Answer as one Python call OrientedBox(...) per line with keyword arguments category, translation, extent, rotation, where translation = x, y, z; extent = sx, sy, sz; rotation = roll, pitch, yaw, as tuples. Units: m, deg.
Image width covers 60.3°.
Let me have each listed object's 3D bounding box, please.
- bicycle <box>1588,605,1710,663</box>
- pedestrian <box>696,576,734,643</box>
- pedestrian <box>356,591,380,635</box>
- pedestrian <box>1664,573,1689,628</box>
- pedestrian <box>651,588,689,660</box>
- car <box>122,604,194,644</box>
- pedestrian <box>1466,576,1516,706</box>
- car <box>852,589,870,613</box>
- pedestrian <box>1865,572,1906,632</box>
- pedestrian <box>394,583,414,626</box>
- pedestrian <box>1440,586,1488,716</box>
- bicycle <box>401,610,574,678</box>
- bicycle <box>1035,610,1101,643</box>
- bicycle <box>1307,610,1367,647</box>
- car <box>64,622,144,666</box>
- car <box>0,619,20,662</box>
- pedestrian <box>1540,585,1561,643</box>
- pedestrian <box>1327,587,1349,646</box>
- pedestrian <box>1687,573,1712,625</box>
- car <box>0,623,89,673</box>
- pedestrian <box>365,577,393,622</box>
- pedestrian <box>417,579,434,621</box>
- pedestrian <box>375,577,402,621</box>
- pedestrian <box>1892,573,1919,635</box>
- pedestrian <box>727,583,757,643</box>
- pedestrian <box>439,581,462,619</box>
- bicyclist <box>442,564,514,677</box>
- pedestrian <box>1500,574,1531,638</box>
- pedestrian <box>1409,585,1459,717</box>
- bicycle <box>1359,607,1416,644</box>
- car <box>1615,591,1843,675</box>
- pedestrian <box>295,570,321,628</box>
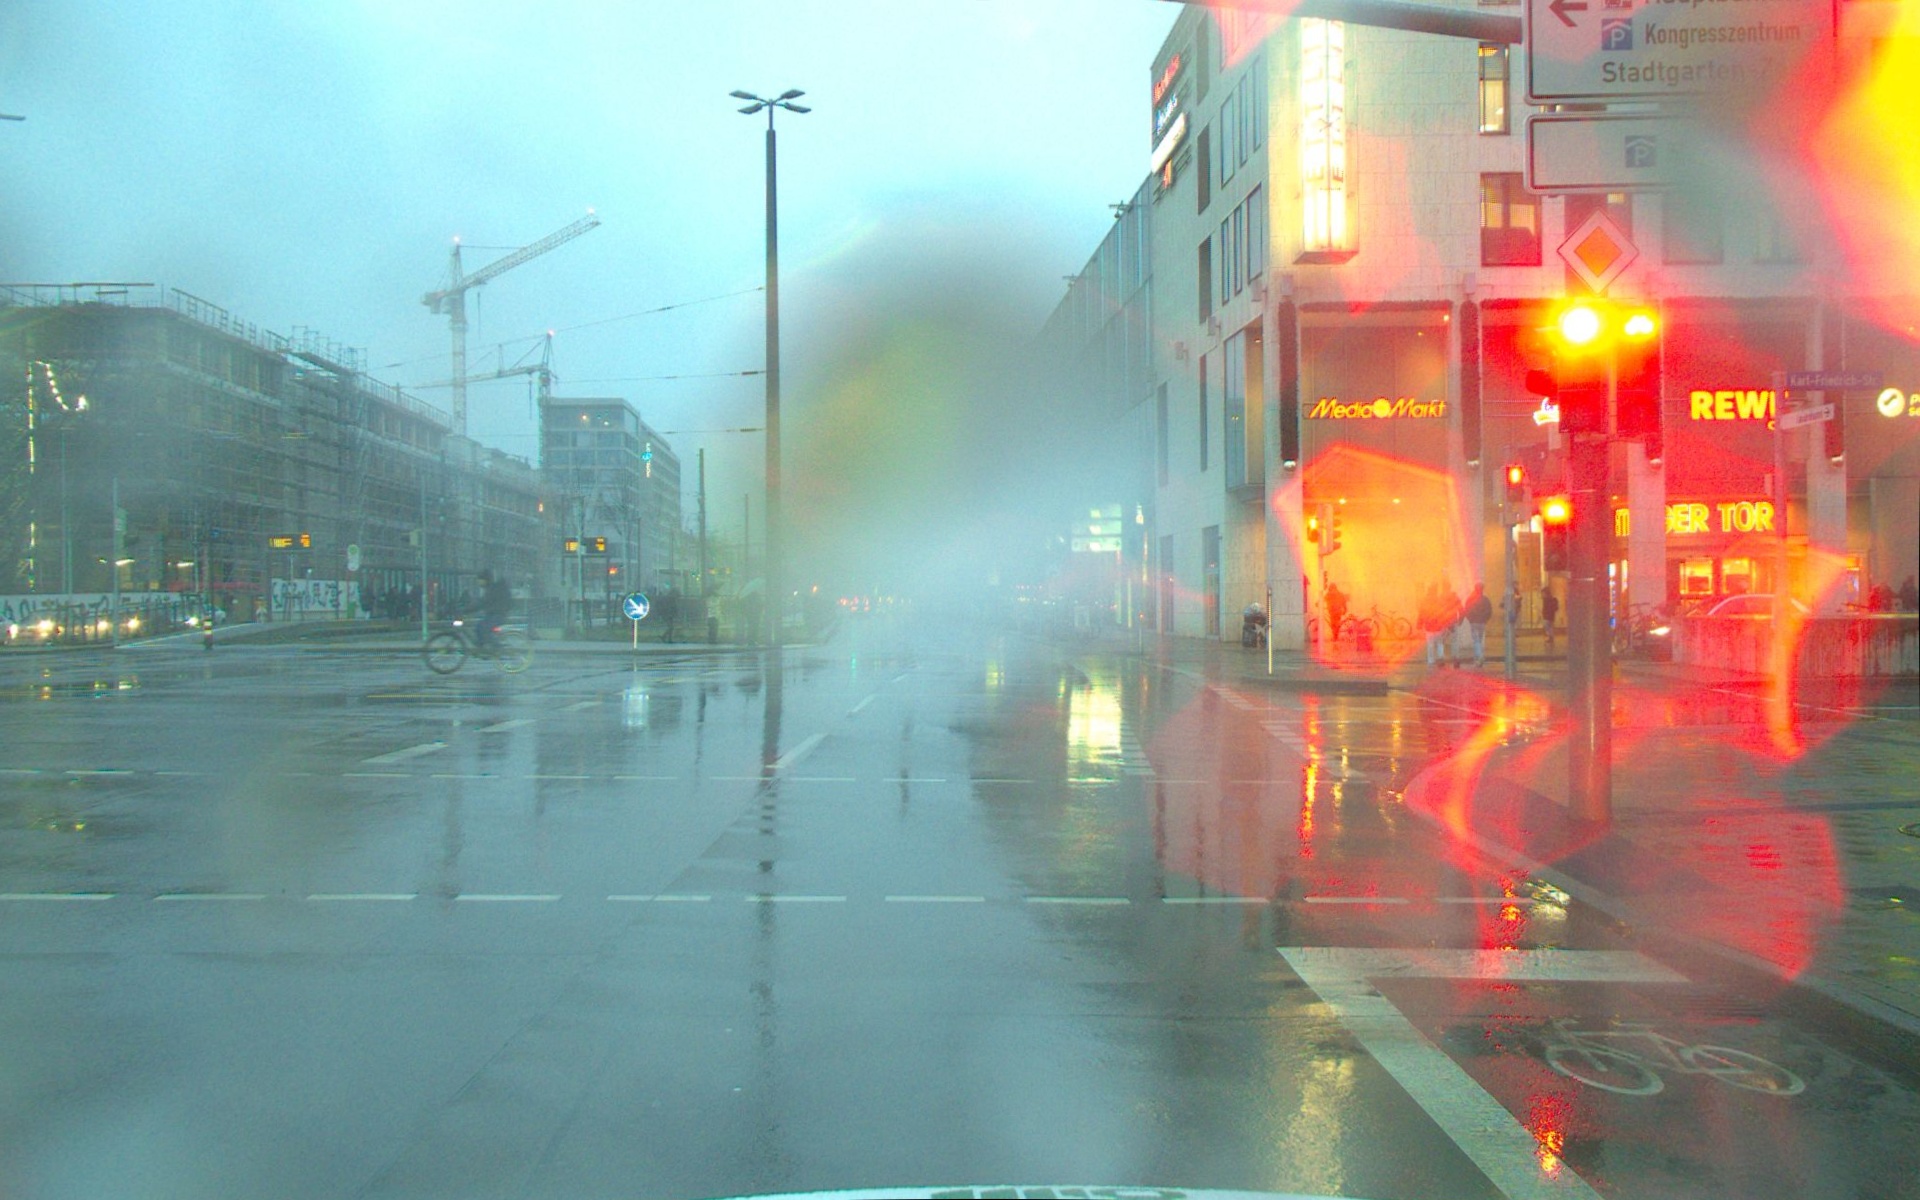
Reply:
OrientedBox(category="bicycle", translation=(17.205, 0.841, 41.351), extent=(2.659, 1.383, 0.957), rotation=(-1, -1, -4))
OrientedBox(category="pedestrian", translation=(-6.861, 0.269, 46.305), extent=(0.813, 1.863, 0.777), rotation=(1, -1, -31))
OrientedBox(category="pedestrian", translation=(-25.927, 0.571, 72.433), extent=(0.750, 1.931, 0.762), rotation=(1, -2, -1))
OrientedBox(category="pedestrian", translation=(22.757, 0.012, 52.556), extent=(0.603, 1.714, 0.366), rotation=(-1, 0, -5))
OrientedBox(category="pedestrian", translation=(-8.287, 0.684, 47.318), extent=(0.771, 2.049, 0.724), rotation=(0, -1, 41))
OrientedBox(category="car", translation=(-38.394, 1.133, 79.267), extent=(1.957, 1.822, 3.991), rotation=(1, 0, -9))
OrientedBox(category="pedestrian", translation=(10.383, 0.796, 32.363), extent=(0.679, 2.491, 0.791), rotation=(1, -1, -1))
OrientedBox(category="car", translation=(-8.798, 0.069, 146.944), extent=(1.546, 2.049, 3.169), rotation=(-1, 0, -3))
OrientedBox(category="pedestrian", translation=(26.875, 0.066, 48.040), extent=(0.875, 1.714, 0.528), rotation=(-1, -1, -1))
OrientedBox(category="pedestrian", translation=(-25.463, 0.202, 75.705), extent=(0.684, 1.913, 0.553), rotation=(1, -1, -2))
OrientedBox(category="pedestrian", translation=(9.779, 0.979, 32.115), extent=(0.675, 2.484, 0.758), rotation=(1, -1, -1))
OrientedBox(category="bicycle", translation=(-8.109, 0.758, 28.478), extent=(2.810, 1.118, 0.742), rotation=(1, 0, -17))
OrientedBox(category="bicycle", translation=(4.007, 0.988, 61.700), extent=(2.393, 1.174, 0.674), rotation=(-1, -1, -2))
OrientedBox(category="bicycle", translation=(11.492, 0.878, 50.504), extent=(1.729, 1.088, 0.525), rotation=(1, -1, 7))
OrientedBox(category="car", translation=(-38.084, 1.931, 73.716), extent=(1.957, 1.822, 3.991), rotation=(1, 0, -9))
OrientedBox(category="car", translation=(-36.401, 1.515, 60.540), extent=(2.038, 1.557, 4.604), rotation=(-1, 0, -10))
OrientedBox(category="pedestrian", translation=(17.191, 0.404, 48.166), extent=(0.476, 1.692, 0.457), rotation=(-1, -1, 30))
OrientedBox(category="pedestrian", translation=(11.409, 0.503, 49.934), extent=(0.587, 1.775, 0.525), rotation=(1, -1, 7))
OrientedBox(category="pedestrian", translation=(25.175, -0.027, 56.301), extent=(0.721, 1.748, 0.738), rotation=(-1, -1, 27))
OrientedBox(category="car", translation=(-37.035, 1.918, 66.974), extent=(1.830, 1.860, 3.993), rotation=(1, 0, -8))
OrientedBox(category="pedestrian", translation=(-26.754, -0.036, 76.193), extent=(0.923, 2.049, 1.093), rotation=(1, -1, -3))
OrientedBox(category="pedestrian", translation=(-26.010, 0.018, 80.489), extent=(0.559, 2.002, 0.664), rotation=(2, -1, -7))
OrientedBox(category="pedestrian", translation=(-26.909, -0.032, 77.903), extent=(0.923, 2.049, 1.093), rotation=(1, -1, -3))
OrientedBox(category="pedestrian", translation=(26.886, 0.118, 46.713), extent=(0.726, 1.713, 0.782), rotation=(1, -1, 5))
OrientedBox(category="pedestrian", translation=(-6.312, 0.377, 47.884), extent=(0.601, 1.715, 0.575), rotation=(0, -1, 41))
OrientedBox(category="pedestrian", translation=(-27.853, 0.006, 90.488), extent=(0.923, 2.049, 1.093), rotation=(1, -1, -3))
OrientedBox(category="bicyclist", translation=(-8.280, 0.351, 28.425), extent=(1.138, 1.904, 0.742), rotation=(1, -1, -17))
OrientedBox(category="pedestrian", translation=(17.859, 0.194, 53.200), extent=(0.828, 2.049, 0.698), rotation=(-1, 0, 8))
OrientedBox(category="pedestrian", translation=(9.101, 0.966, 31.782), extent=(0.700, 2.484, 0.758), rotation=(1, -1, -1))
OrientedBox(category="bicycle", translation=(13.191, 0.783, 51.003), extent=(1.614, 1.088, 0.524), rotation=(1, -1, -5))
OrientedBox(category="car", translation=(16.228, 0.686, 35.062), extent=(3.905, 1.646, 2.000), rotation=(1, 0, 0))
OrientedBox(category="pedestrian", translation=(-26.905, -0.037, 68.259), extent=(0.750, 2.364, 0.762), rotation=(1, -2, -1))
